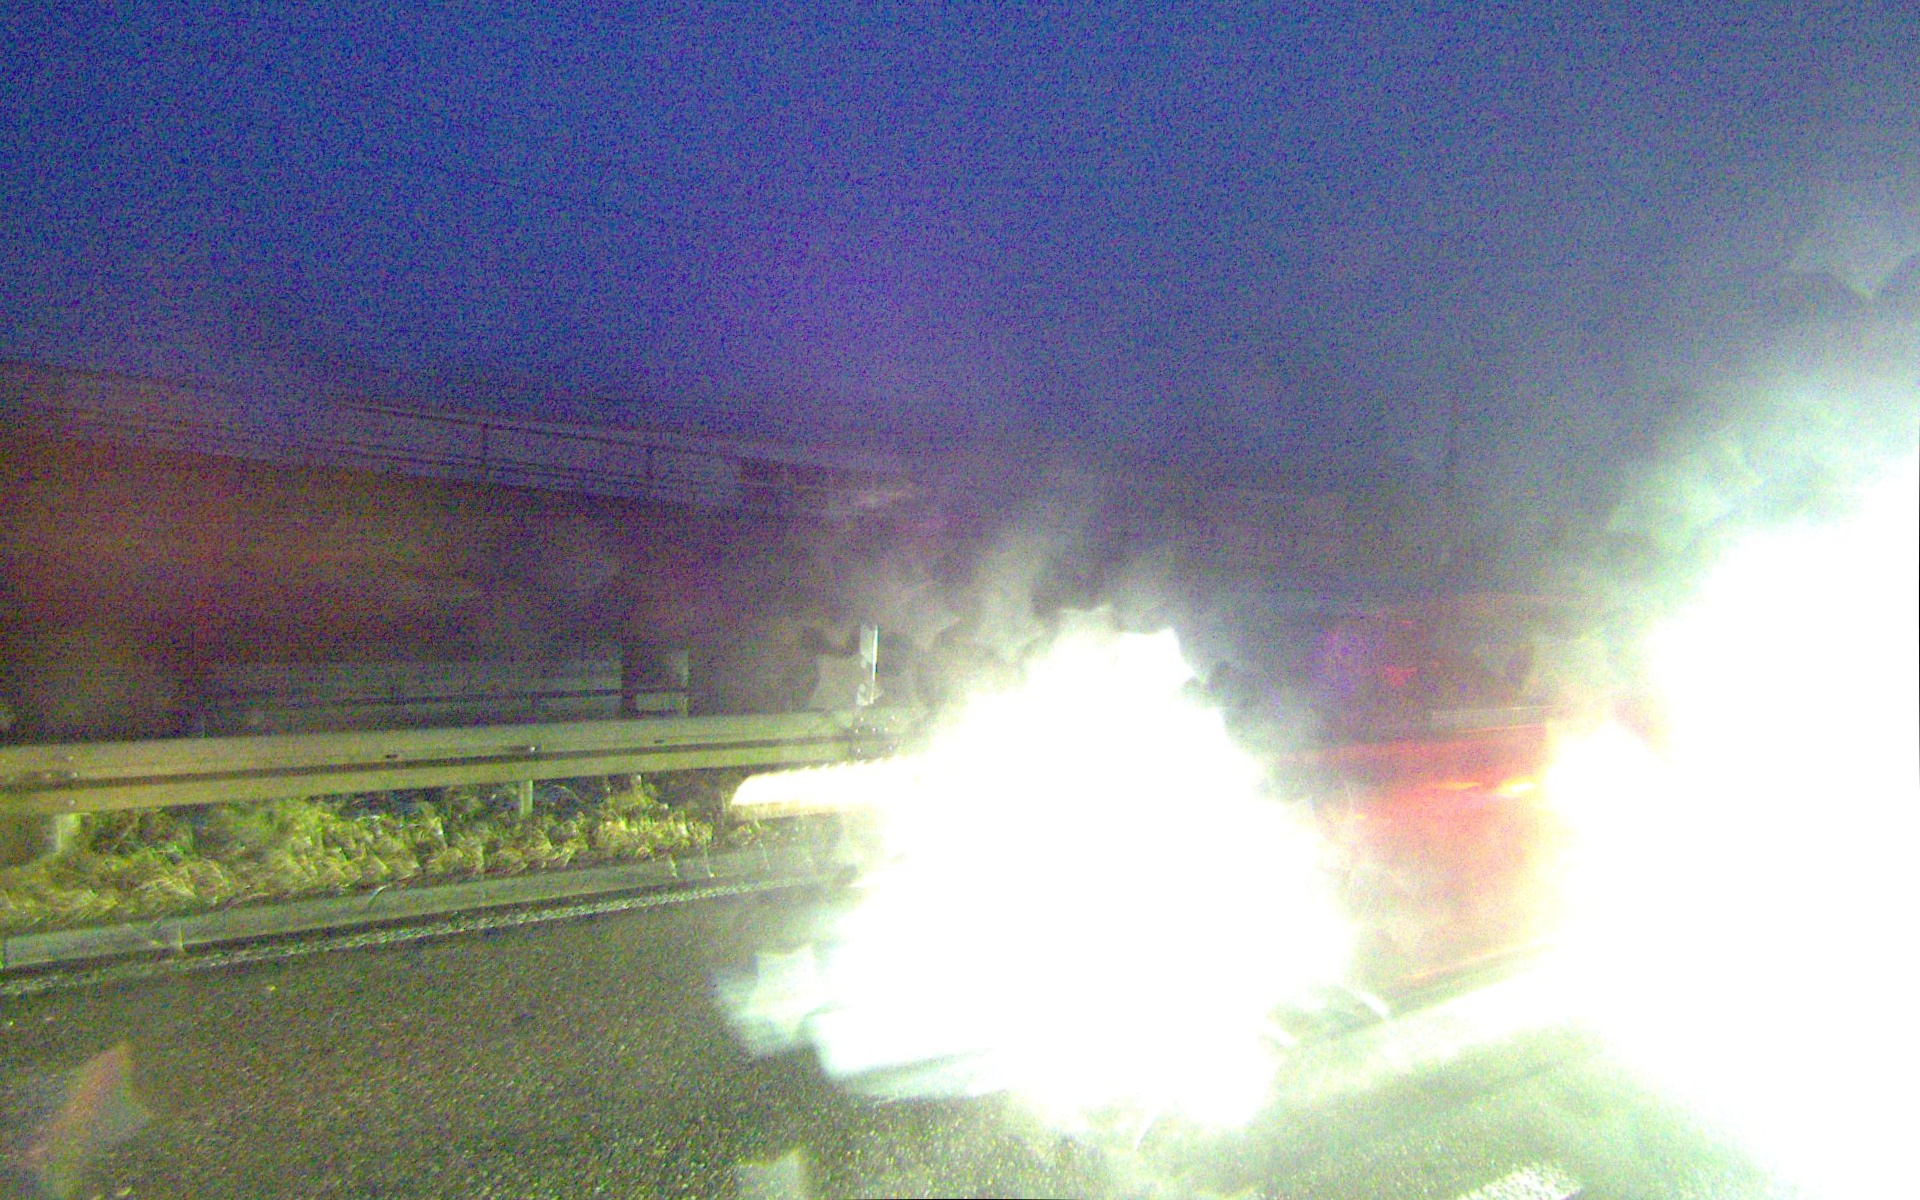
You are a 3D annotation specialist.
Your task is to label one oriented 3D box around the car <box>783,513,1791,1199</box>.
[{"bbox_3d":[1.523,0.686,4.286,4.078,1.678,1.941,1,-1,-32],"label":"car"}]
